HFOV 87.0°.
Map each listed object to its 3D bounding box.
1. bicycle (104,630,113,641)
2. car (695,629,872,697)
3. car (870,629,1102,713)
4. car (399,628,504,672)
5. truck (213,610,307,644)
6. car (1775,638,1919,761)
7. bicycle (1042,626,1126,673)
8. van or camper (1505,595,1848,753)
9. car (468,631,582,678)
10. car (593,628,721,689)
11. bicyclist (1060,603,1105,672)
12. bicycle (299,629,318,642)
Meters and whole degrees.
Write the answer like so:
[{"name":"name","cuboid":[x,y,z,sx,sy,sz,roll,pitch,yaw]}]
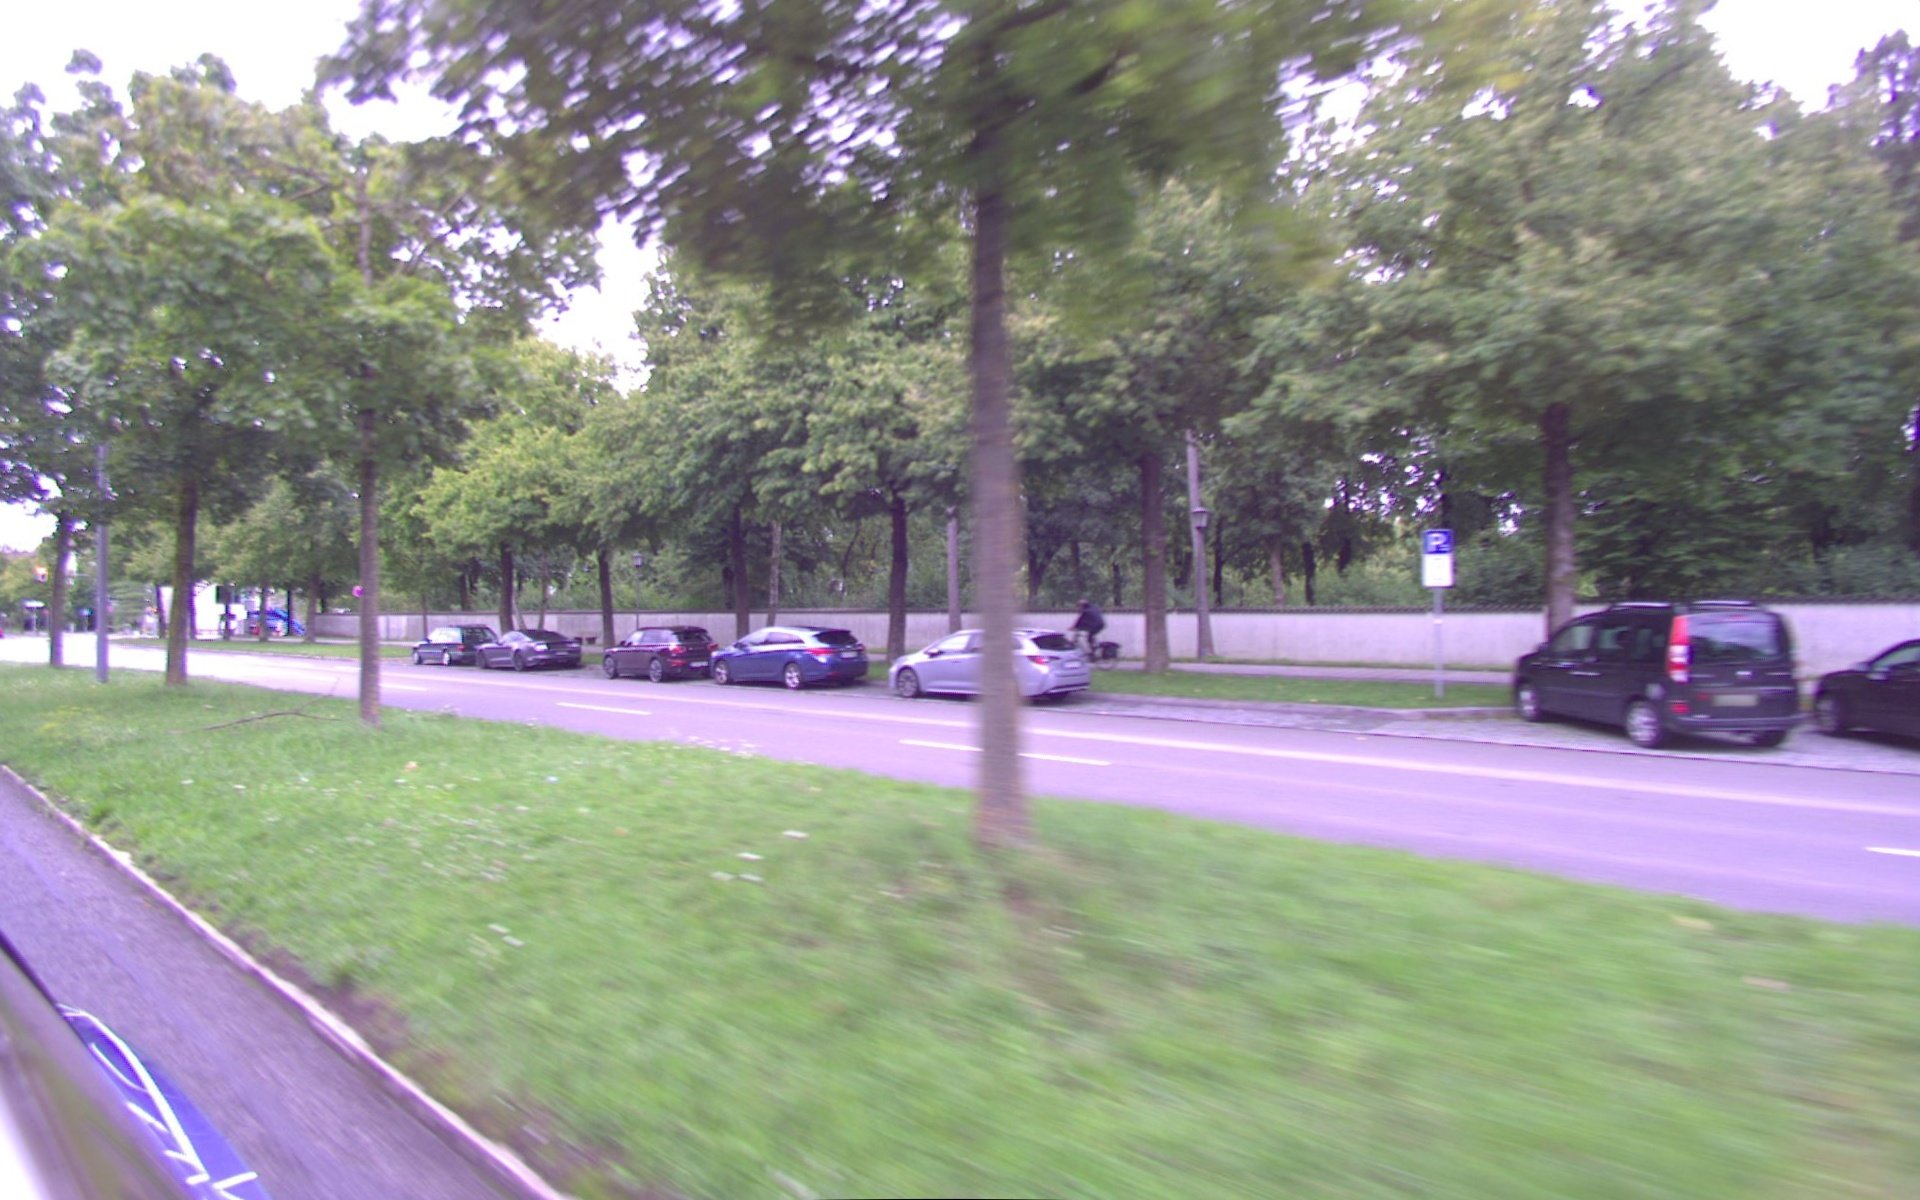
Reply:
[{"name":"bicycle","cuboid":[-96.858,4.055,115.091,1.825,1.190,0.539,-2,-2,41]},{"name":"car","cuboid":[-4.422,1.486,24.848,4.795,1.470,1.570,-2,-1,40]},{"name":"car","cuboid":[0.405,1.350,20.517,4.808,1.450,1.618,-2,-1,43]},{"name":"car","cuboid":[-19.108,1.839,37.929,4.913,1.501,1.780,-2,-1,41]},{"name":"truck","cuboid":[-73.790,2.830,106.752,2.771,3.515,7.714,-2,-2,42]},{"name":"car","cuboid":[12.065,1.175,12.397,1.735,1.364,3.568,-1,-1,11]},{"name":"bicycle","cuboid":[3.193,1.262,26.193,2.115,1.170,0.705,-1,-2,42]},{"name":"van or camper","cuboid":[9.646,0.928,14.128,1.825,1.869,4.124,0,-1,1]},{"name":"car","cuboid":[-14.644,1.781,33.953,4.705,1.406,1.642,-2,-1,41]},{"name":"car","cuboid":[-8.498,1.563,28.161,1.553,1.514,4.306,-1,-1,-45]},{"name":"bicyclist","cuboid":[3.175,0.958,26.213,0.922,1.760,0.697,-2,-2,41]},{"name":"bicycle","cuboid":[-61.649,3.367,95.693,2.494,1.195,0.827,-1,-2,40]}]
